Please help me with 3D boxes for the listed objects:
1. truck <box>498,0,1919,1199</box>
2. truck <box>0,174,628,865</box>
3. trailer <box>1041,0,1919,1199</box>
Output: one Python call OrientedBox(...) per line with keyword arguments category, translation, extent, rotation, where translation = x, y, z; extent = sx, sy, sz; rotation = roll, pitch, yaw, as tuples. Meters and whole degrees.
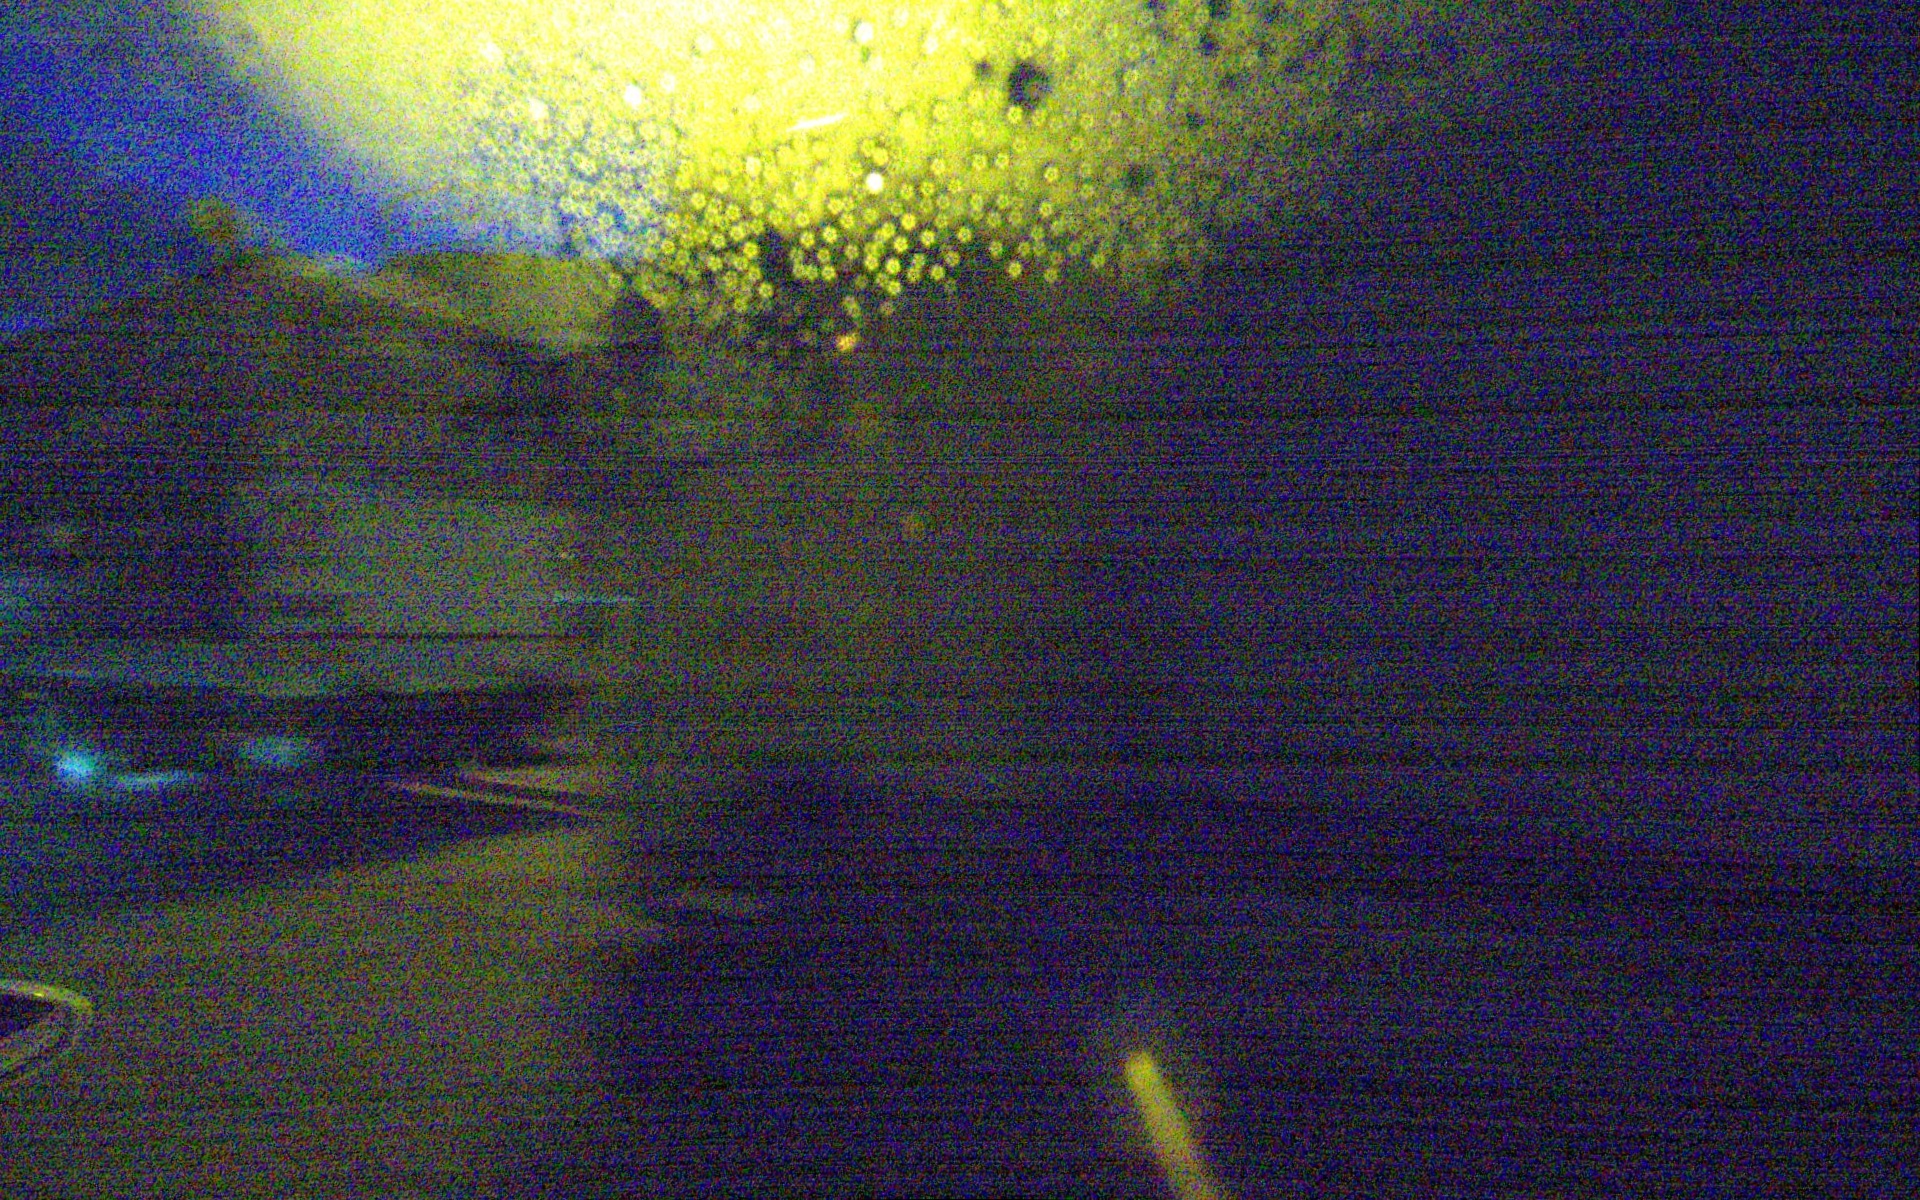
OrientedBox(category="truck", translation=(1.056, -0.492, 4.227), extent=(5.967, 4.034, 2.823), rotation=(-1, -1, 34))
OrientedBox(category="truck", translation=(-7.785, -0.369, 9.771), extent=(10.194, 4.034, 2.825), rotation=(-1, -1, 32))
OrientedBox(category="trailer", translation=(6.714, -0.603, 0.392), extent=(13.782, 4.034, 2.802), rotation=(-1, -1, 34))
